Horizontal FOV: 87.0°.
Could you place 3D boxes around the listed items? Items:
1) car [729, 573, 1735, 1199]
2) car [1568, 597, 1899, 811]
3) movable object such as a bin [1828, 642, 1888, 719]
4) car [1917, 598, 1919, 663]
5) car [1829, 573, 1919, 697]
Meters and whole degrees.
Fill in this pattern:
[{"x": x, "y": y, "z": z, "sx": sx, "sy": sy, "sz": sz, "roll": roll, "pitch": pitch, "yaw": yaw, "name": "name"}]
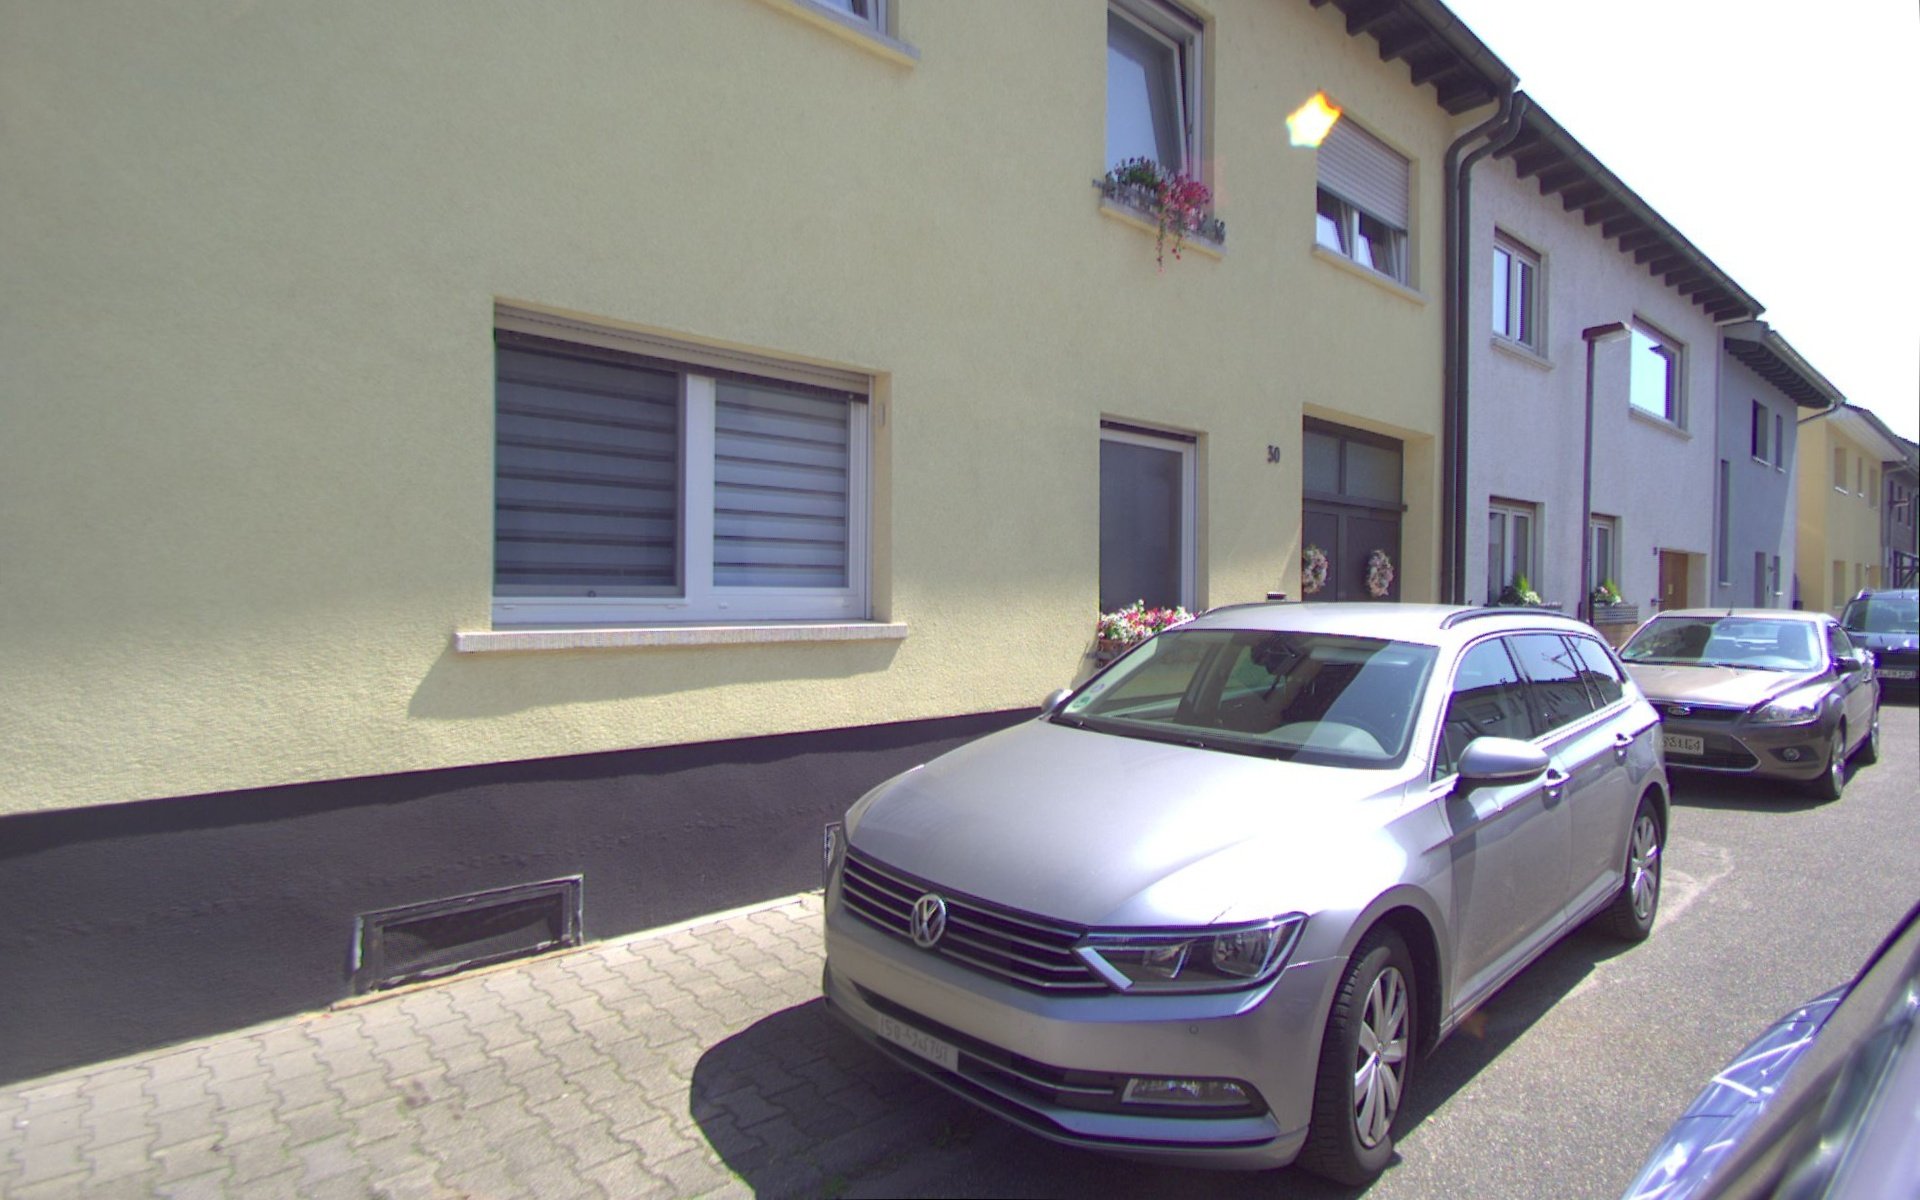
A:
[{"x": 1.585, "y": 0.669, "z": 4.190, "sx": 4.696, "sy": 1.466, "sz": 1.840, "roll": 0, "pitch": 0, "yaw": -43, "name": "car"}, {"x": 6.979, "y": 0.711, "z": 8.970, "sx": 4.034, "sy": 1.453, "sz": 1.698, "roll": 0, "pitch": 0, "yaw": -43, "name": "car"}, {"x": 11.362, "y": 1.006, "z": 12.814, "sx": 0.549, "sy": 0.903, "sz": 0.570, "roll": 0, "pitch": 1, "yaw": 42, "name": "movable object such as a bin"}, {"x": 23.233, "y": 0.687, "z": 23.099, "sx": 4.175, "sy": 1.432, "sz": 1.664, "roll": 0, "pitch": 2, "yaw": -42, "name": "car"}, {"x": 15.465, "y": 0.489, "z": 16.270, "sx": 4.127, "sy": 1.799, "sz": 1.700, "roll": -1, "pitch": 2, "yaw": -41, "name": "car"}]
